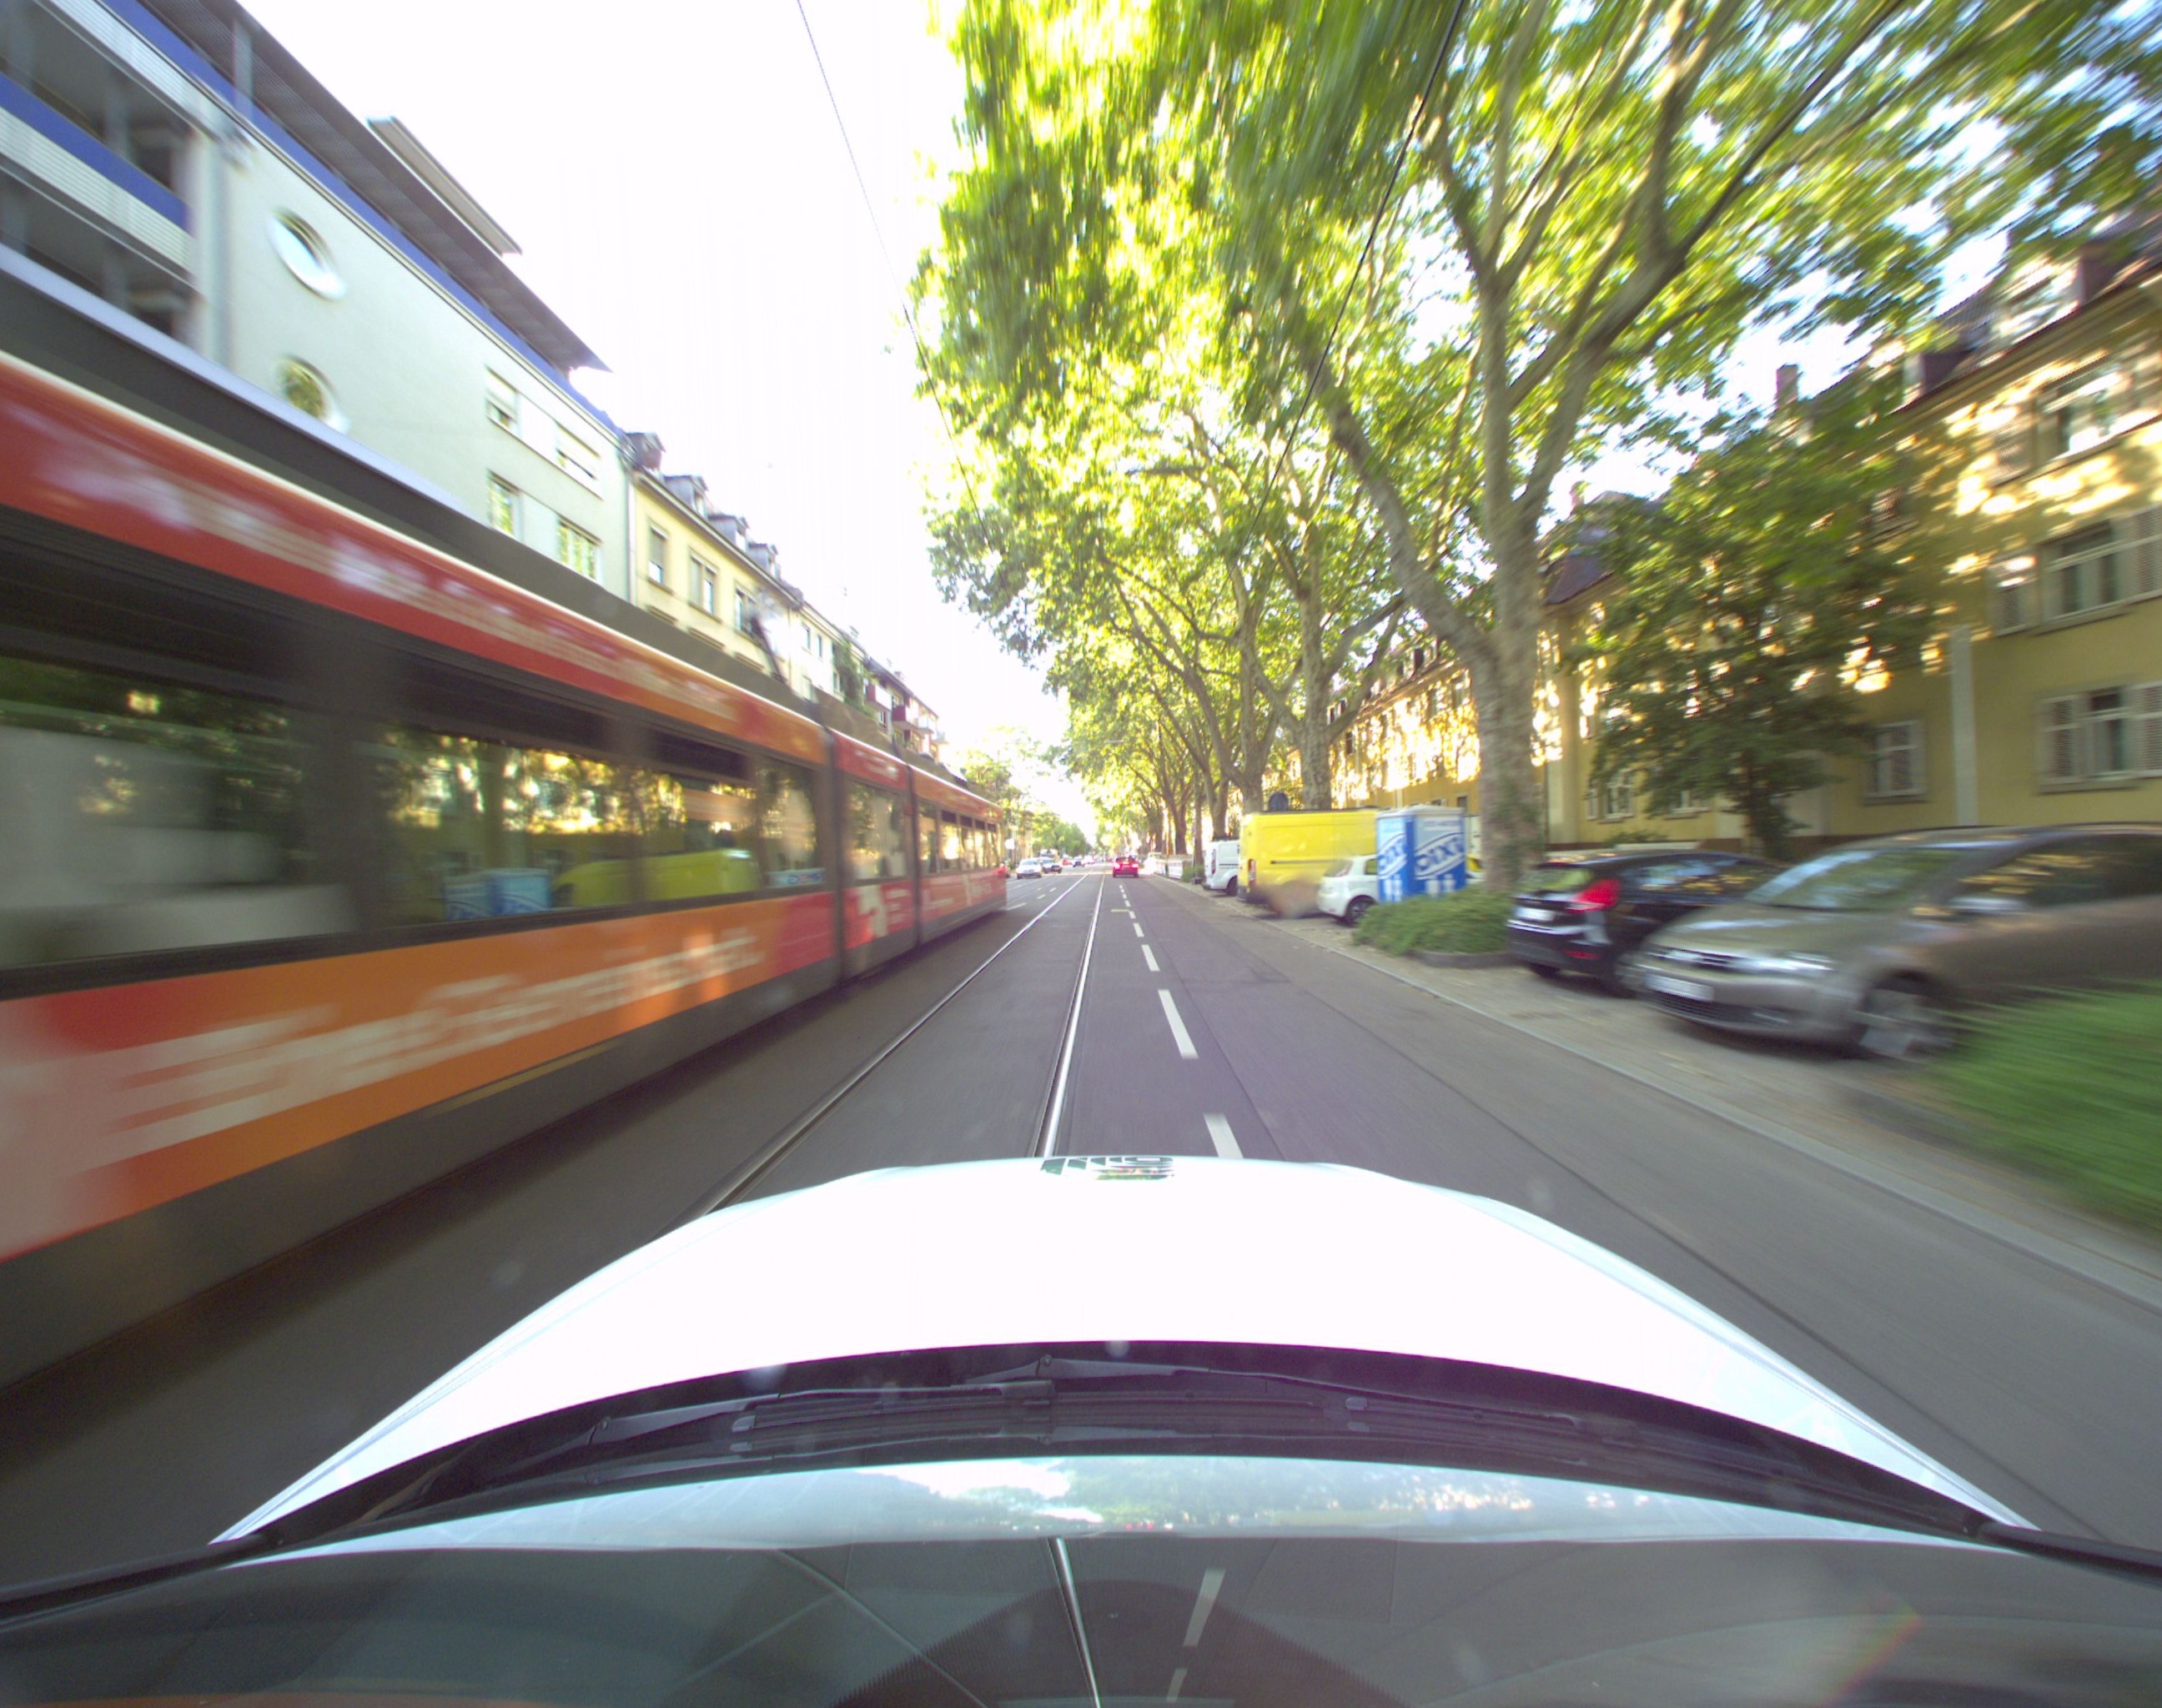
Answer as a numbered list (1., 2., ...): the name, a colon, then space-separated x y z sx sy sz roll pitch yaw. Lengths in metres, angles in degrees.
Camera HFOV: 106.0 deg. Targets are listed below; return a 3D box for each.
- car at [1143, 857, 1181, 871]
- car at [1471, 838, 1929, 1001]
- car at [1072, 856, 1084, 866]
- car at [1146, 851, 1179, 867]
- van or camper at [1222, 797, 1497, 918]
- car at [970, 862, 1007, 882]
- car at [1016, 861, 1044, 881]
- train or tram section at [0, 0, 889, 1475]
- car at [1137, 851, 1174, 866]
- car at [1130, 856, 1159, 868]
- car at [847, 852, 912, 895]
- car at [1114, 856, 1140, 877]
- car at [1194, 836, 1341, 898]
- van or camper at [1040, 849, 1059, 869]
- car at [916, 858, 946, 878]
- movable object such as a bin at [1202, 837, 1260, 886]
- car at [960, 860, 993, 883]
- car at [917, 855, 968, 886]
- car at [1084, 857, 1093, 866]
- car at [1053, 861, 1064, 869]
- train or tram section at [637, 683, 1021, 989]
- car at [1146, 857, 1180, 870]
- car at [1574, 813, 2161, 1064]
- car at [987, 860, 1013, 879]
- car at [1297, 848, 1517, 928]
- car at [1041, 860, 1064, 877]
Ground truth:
1. car: 8.956 1.099 90.472 4.074 1.521 1.916 -1 -1 0
2. car: 6.460 0.638 8.797 3.643 1.427 1.736 -2 0 -2
3. car: -0.458 1.181 133.762 1.846 1.600 4.464 -1 0 1
4. car: 9.514 0.636 94.927 3.825 1.772 1.919 -1 -1 5
5. van or camper: 6.581 0.120 19.892 5.900 2.629 2.272 -2 -2 3
6. car: -7.054 1.338 62.542 1.944 1.395 4.866 1 0 3
7. car: -3.925 1.286 63.486 1.789 1.446 4.717 0 0 1
8. train or tram section: -3.936 -0.280 2.820 2.897 3.486 13.374 -1 0 2
9. car: 10.065 0.642 110.419 4.821 1.963 2.064 -1 -1 -1
10. car: 10.191 1.320 129.583 4.474 1.602 2.030 -3 -1 5
11. car: -8.790 0.804 35.922 1.783 1.771 4.468 -1 0 -1
12. car: 3.170 0.868 56.675 1.785 1.389 4.239 0 0 2
13. car: 6.653 0.461 29.478 4.817 2.013 2.064 -2 0 1
14. van or camper: -5.013 0.764 128.557 2.328 3.041 6.401 2 0 3
15. car: -16.283 1.533 88.134 2.004 2.123 4.682 0 -1 -26
16. movable object such as a bin: 7.324 0.346 39.638 1.467 2.269 3.297 -1 -1 35
17. car: -7.368 1.199 57.521 1.813 1.587 4.004 0 0 0
18. car: -7.867 0.930 46.701 1.945 1.648 4.882 0 -1 1
19. car: 1.680 1.691 178.749 1.884 1.832 4.897 -1 -1 2
20. car: -4.231 2.053 151.749 1.830 1.468 5.068 2 0 0
21. train or tram section: -3.455 -0.159 16.526 2.897 3.486 14.203 -1 0 2
22. car: 9.395 1.073 92.959 3.825 1.433 1.854 -1 -1 5
23. car: 6.423 0.546 6.304 4.062 1.550 1.831 -2 -1 1
24. car: -6.727 1.284 67.951 1.719 1.483 3.930 1 -1 1
25. car: 6.686 0.677 17.059 3.889 1.489 1.865 -2 0 3
26. car: -2.700 1.384 78.081 1.789 1.446 4.055 -2 0 2
